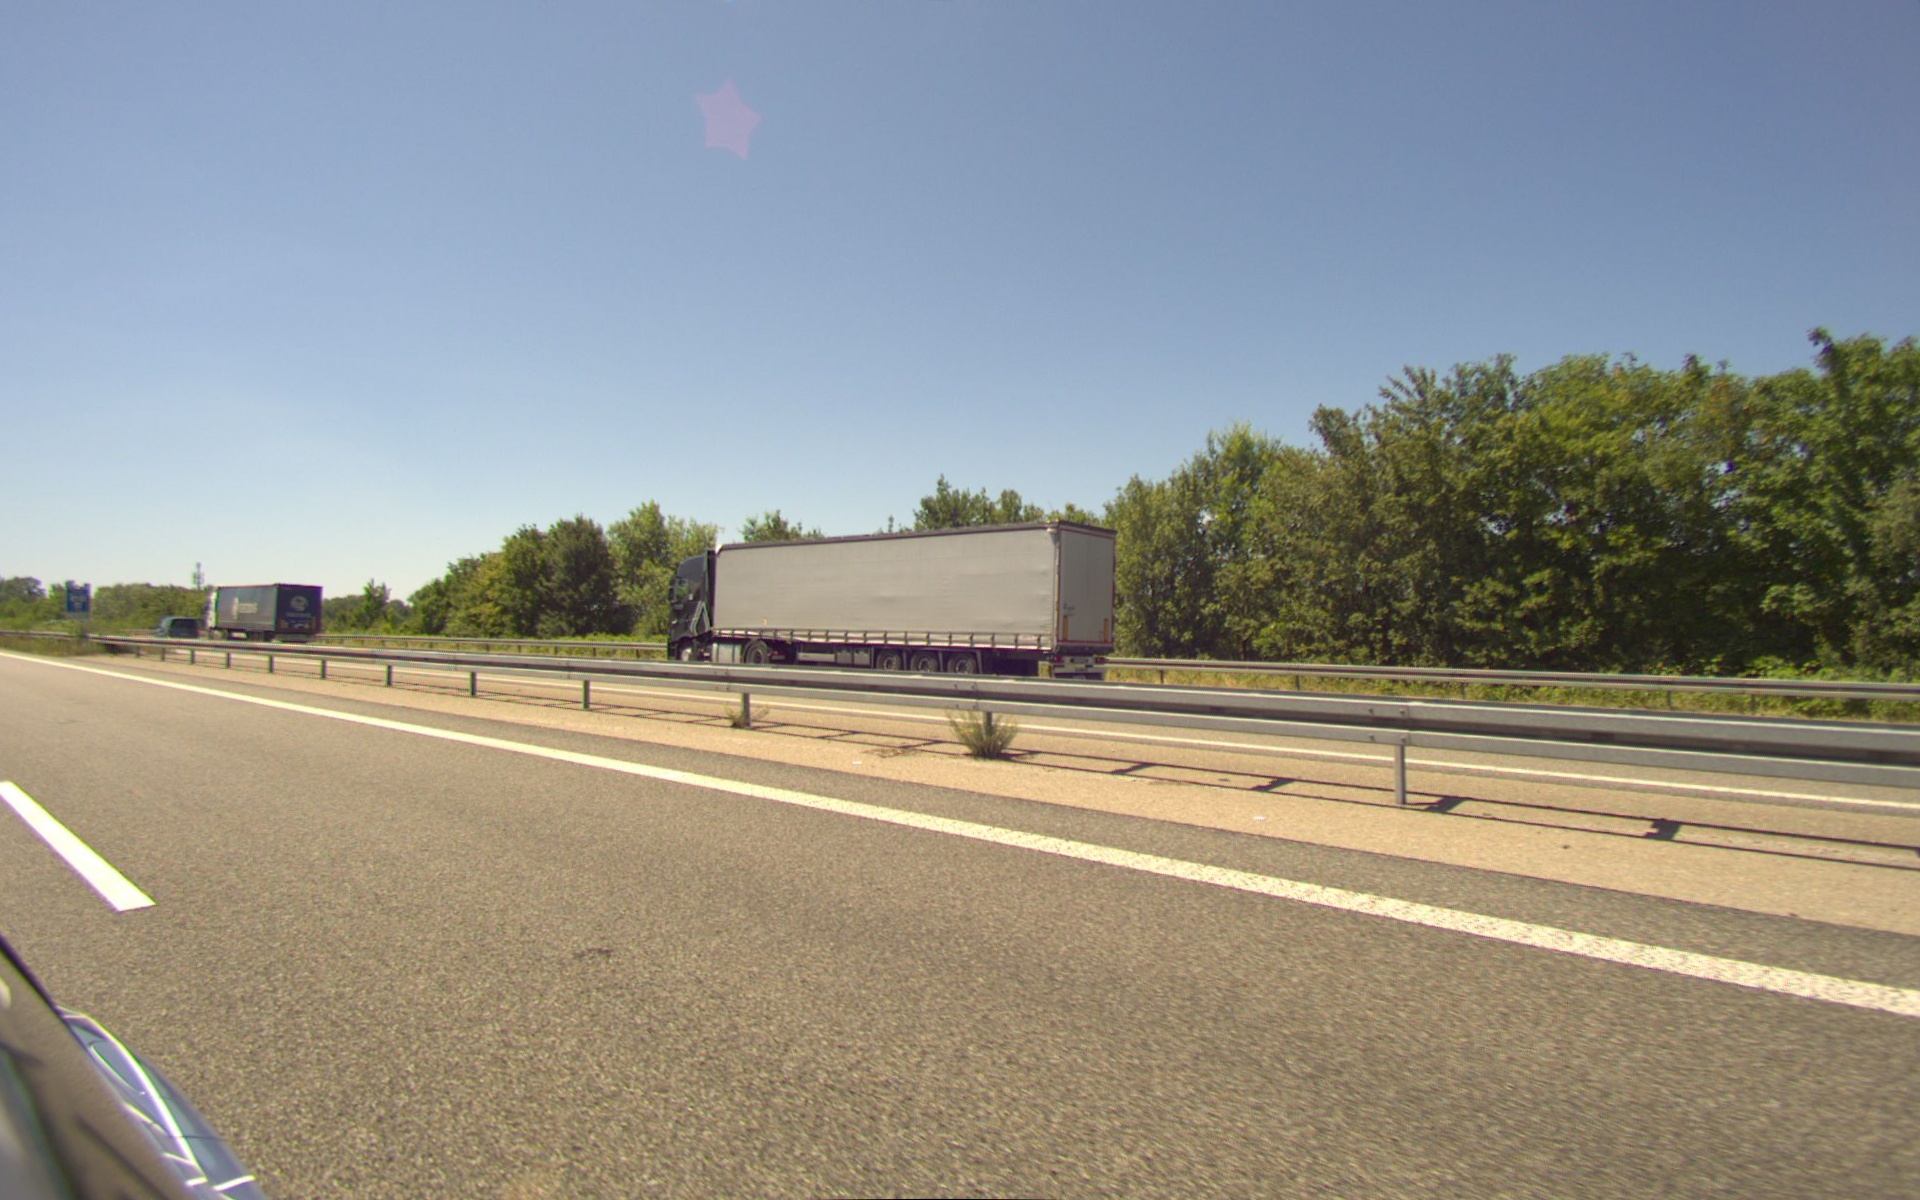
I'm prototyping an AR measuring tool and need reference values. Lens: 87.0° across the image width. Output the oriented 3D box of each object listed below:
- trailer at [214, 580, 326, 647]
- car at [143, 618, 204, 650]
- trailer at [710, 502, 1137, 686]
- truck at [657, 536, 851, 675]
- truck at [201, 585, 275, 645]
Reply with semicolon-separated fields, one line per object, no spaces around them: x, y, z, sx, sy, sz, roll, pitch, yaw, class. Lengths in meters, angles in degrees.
-47.188;0.969;68.922;13.535;4.218;2.889;-1;-3;41;trailer
-53.786;2.285;69.173;5.353;2.003;2.206;-1;2;41;car
-1.709;0.052;28.885;13.532;4.218;3.314;-2;-3;41;trailer
-6.874;0.236;33.400;6.190;4.161;3.164;-2;-2;41;truck
-52.667;1.105;73.779;6.190;4.161;2.886;-1;-3;41;truck
